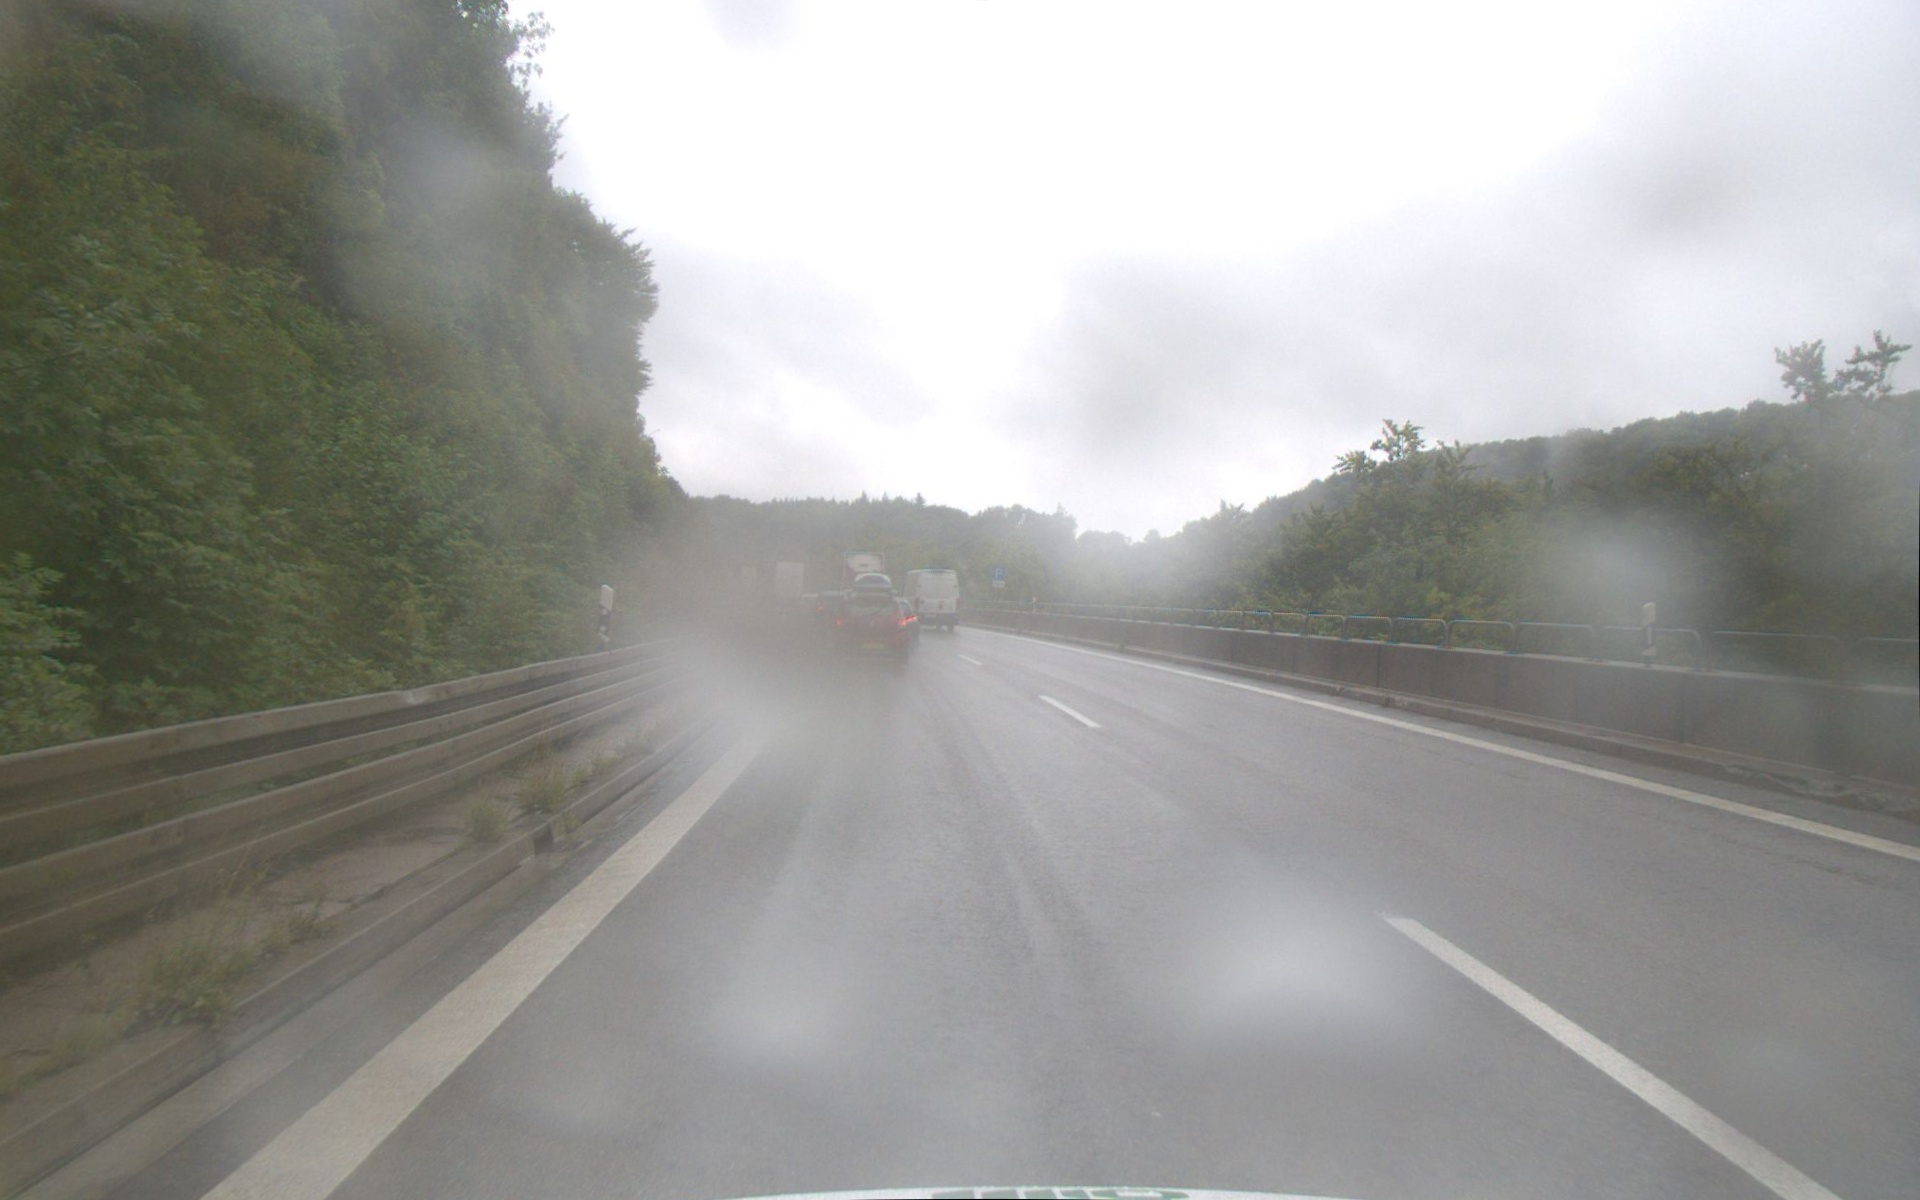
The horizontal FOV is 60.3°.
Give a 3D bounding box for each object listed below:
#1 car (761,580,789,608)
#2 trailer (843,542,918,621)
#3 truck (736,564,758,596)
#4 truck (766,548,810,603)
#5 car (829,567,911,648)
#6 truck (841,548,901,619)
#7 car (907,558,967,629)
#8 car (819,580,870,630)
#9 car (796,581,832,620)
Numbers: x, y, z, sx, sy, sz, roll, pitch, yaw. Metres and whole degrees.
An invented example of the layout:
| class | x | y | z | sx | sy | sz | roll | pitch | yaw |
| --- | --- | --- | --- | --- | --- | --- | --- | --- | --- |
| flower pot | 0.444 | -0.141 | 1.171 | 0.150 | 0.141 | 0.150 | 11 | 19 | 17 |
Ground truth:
| class | x | y | z | sx | sy | sz | roll | pitch | yaw |
| --- | --- | --- | --- | --- | --- | --- | --- | --- | --- |
| car | -13.901 | -0.463 | 124.224 | 1.956 | 2.049 | 3.993 | 1 | 0 | -7 |
| trailer | -4.695 | -0.990 | 94.835 | 3.157 | 4.068 | 13.503 | 3 | 0 | -7 |
| truck | -23.856 | -2.239 | 184.879 | 2.067 | 3.480 | 6.207 | 1 | 0 | -10 |
| truck | -15.531 | -2.124 | 149.108 | 3.165 | 4.764 | 8.277 | 1 | 0 | -11 |
| car | -2.055 | 0.163 | 37.432 | 1.723 | 1.714 | 3.997 | 1 | 0 | -4 |
| truck | -5.547 | -0.991 | 102.145 | 3.158 | 4.047 | 5.431 | 3 | 0 | -7 |
| car | -1.082 | -0.261 | 73.254 | 2.163 | 2.842 | 7.377 | 4 | -1 | -3 |
| car | -4.202 | 0.196 | 60.215 | 1.787 | 1.726 | 3.997 | 1 | 0 | -4 |
| car | -7.374 | 0.035 | 83.248 | 1.683 | 1.849 | 3.887 | 1 | 0 | -7 |
